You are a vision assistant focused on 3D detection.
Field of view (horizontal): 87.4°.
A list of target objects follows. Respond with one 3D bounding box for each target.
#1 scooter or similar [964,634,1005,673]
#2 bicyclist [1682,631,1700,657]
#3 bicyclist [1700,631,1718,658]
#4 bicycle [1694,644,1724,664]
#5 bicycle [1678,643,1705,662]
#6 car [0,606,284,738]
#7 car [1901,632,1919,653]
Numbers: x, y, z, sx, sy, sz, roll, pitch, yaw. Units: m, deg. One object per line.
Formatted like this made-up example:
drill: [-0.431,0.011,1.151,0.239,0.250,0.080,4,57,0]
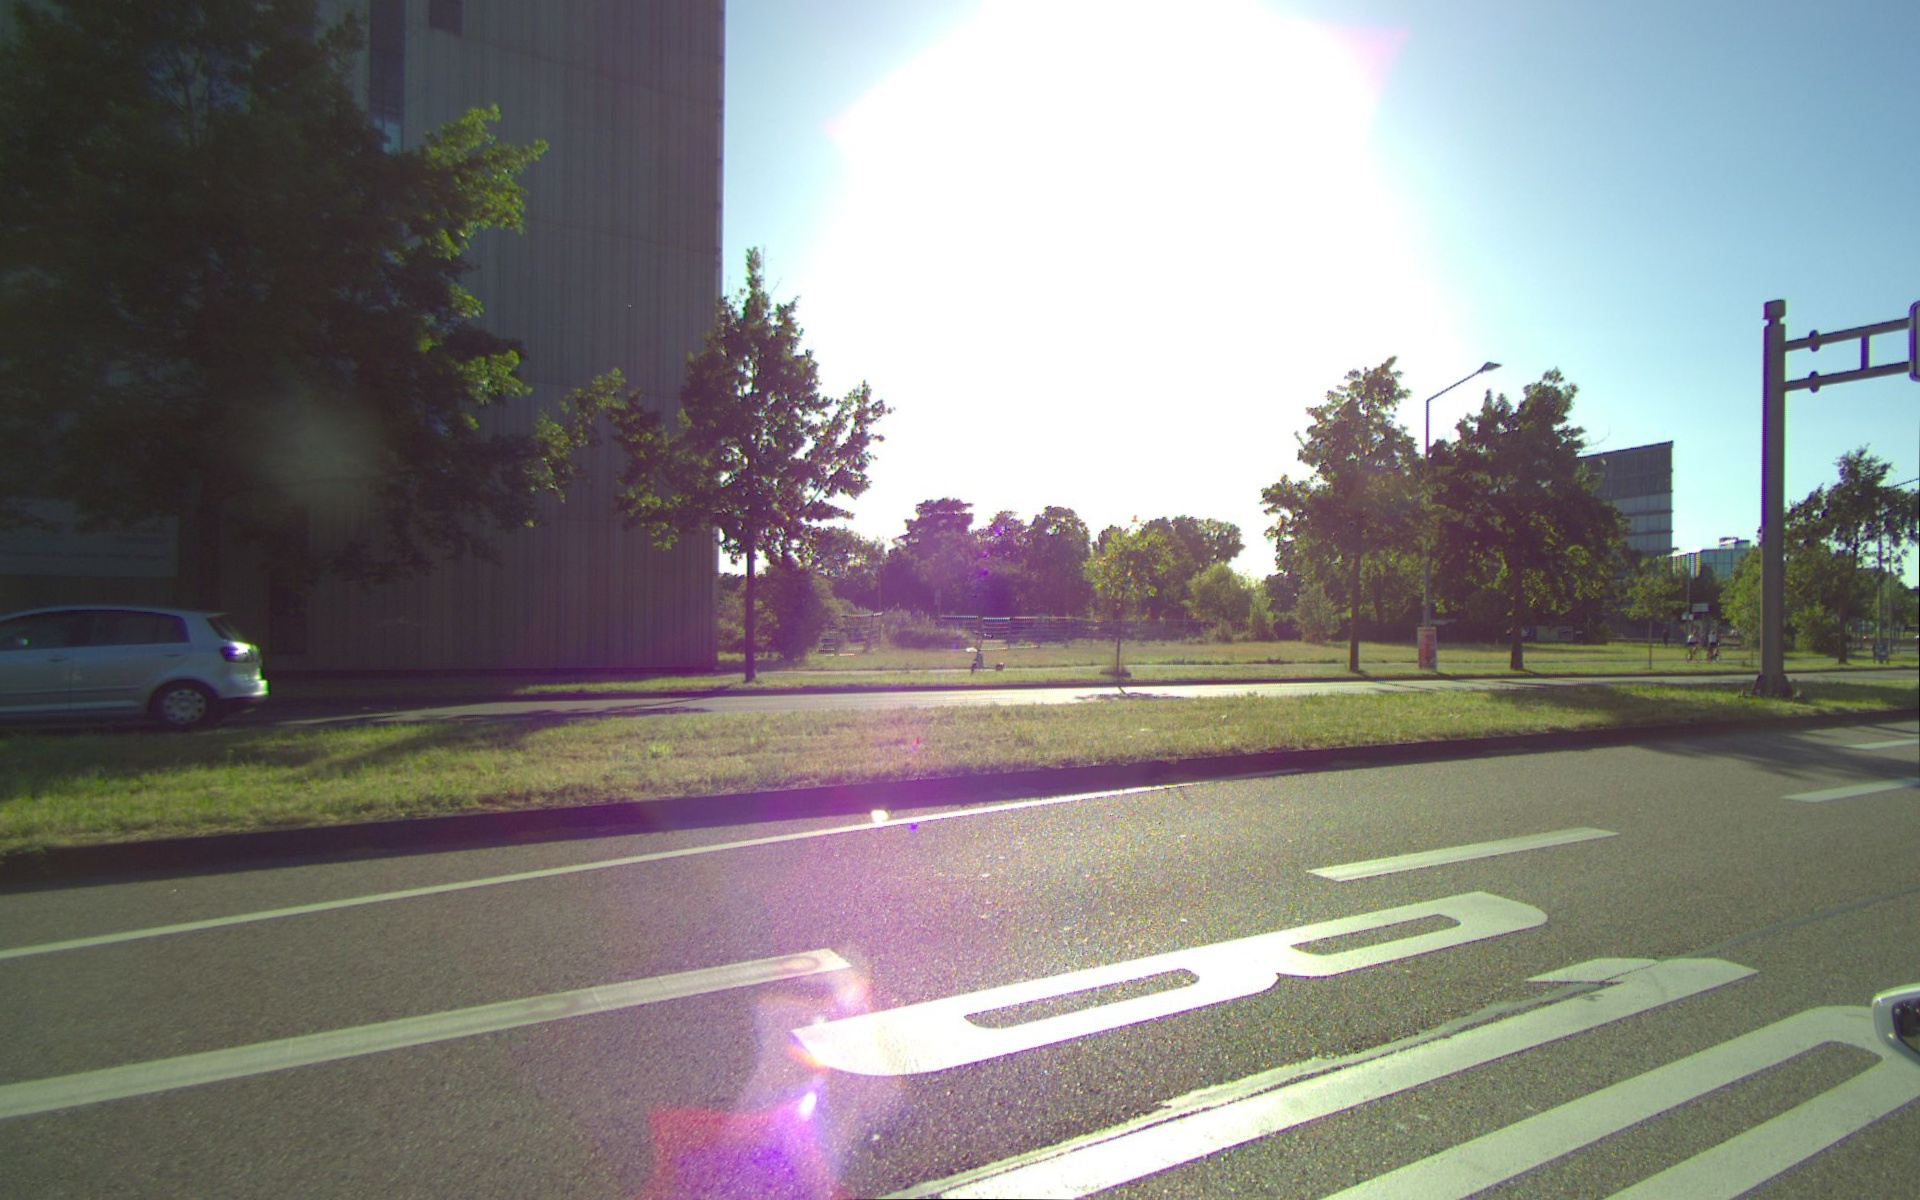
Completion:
scooter or similar: [0.754,1.638,30.653,1.312,1.164,0.230,2,-1,-30]
bicyclist: [40.345,2.423,55.435,0.835,1.413,0.480,2,-1,-31]
bicyclist: [40.544,2.397,54.348,0.739,1.410,0.559,1,-1,-31]
bicycle: [40.524,2.908,54.334,2.072,1.016,0.567,2,-1,-31]
bicycle: [40.389,2.918,55.452,2.072,1.016,0.484,2,-1,-31]
car: [-10.814,0.835,12.379,4.004,1.496,1.679,1,-1,-32]
car: [89.034,3.932,93.274,1.610,1.901,3.992,0,-2,31]
